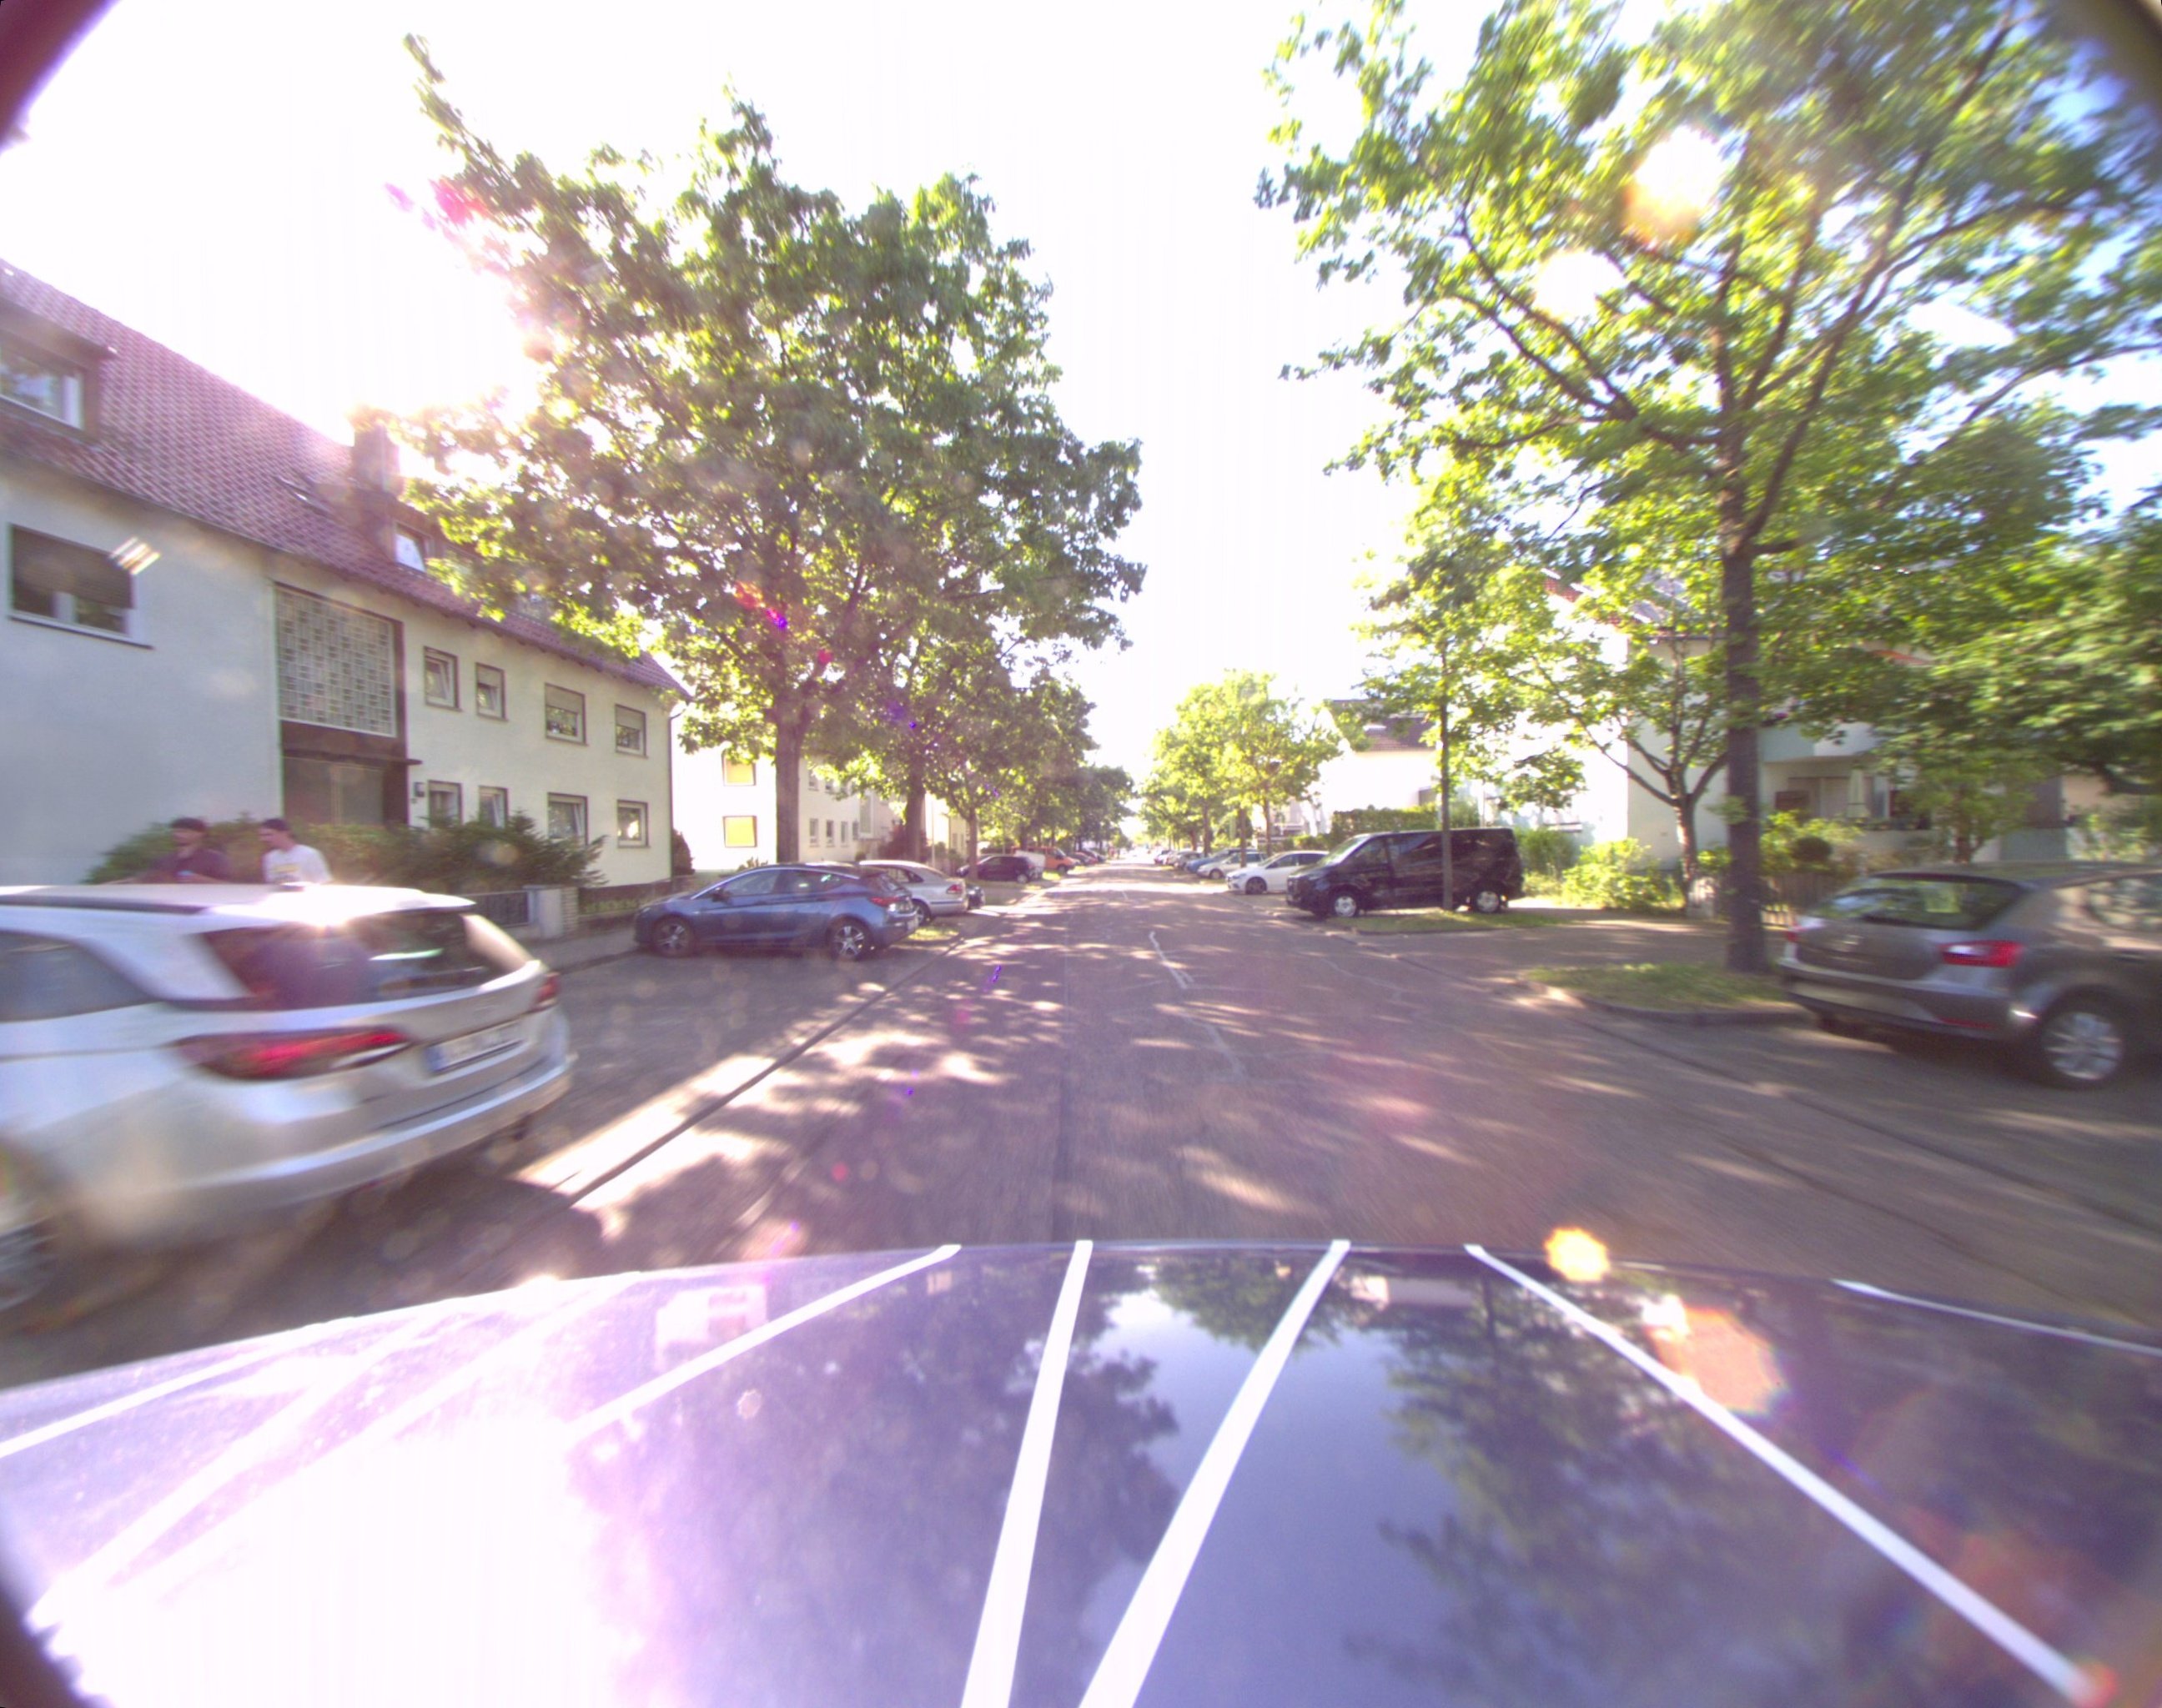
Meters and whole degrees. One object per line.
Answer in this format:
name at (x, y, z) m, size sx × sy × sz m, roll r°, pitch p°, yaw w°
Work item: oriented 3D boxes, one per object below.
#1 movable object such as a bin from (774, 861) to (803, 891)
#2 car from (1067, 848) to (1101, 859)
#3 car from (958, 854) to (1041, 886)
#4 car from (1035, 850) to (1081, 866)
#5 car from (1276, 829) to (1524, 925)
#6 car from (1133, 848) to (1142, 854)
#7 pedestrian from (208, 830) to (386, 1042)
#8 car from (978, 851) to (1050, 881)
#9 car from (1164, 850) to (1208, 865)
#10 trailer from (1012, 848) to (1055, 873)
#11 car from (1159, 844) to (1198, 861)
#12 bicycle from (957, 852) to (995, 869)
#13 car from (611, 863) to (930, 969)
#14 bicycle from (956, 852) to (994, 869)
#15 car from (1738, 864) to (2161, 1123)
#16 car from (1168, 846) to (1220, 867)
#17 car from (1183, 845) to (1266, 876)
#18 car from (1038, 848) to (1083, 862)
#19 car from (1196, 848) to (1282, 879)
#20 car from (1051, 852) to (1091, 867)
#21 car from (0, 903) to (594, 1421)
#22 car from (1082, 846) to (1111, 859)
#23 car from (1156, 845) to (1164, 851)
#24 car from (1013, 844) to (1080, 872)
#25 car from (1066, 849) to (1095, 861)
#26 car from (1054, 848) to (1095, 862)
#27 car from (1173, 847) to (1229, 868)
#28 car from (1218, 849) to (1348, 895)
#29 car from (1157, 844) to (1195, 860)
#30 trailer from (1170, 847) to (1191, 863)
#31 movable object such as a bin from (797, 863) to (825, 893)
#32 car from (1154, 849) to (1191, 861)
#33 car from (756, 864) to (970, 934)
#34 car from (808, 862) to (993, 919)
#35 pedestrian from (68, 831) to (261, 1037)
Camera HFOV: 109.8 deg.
movable object such as a bin at (-11.285, 0.851, 29.334) m, size 0.704 × 1.092 × 0.906 m, roll -1°, pitch 2°, yaw 2°
car at (0.373, -0.095, 104.751) m, size 4.512 × 1.437 × 1.839 m, roll 0°, pitch 1°, yaw 6°
car at (-4.064, 0.796, 38.217) m, size 3.891 × 1.507 × 1.661 m, roll -1°, pitch 2°, yaw 3°
car at (-2.190, 0.360, 73.828) m, size 4.348 × 1.551 × 1.868 m, roll 0°, pitch 1°, yaw 3°
car at (7.127, 0.496, 17.390) m, size 4.790 × 1.906 × 2.018 m, roll -2°, pitch 1°, yaw 1°
car at (13.876, -0.660, 187.836) m, size 1.943 × 1.412 × 4.002 m, roll -1°, pitch 1°, yaw 7°
pedestrian at (-7.321, 0.715, 7.149) m, size 0.609 × 1.863 × 0.924 m, roll -1°, pitch 2°, yaw 4°
car at (-3.792, 0.688, 43.558) m, size 3.997 × 1.614 × 1.757 m, roll -1°, pitch 2°, yaw -1°
car at (10.255, 0.327, 74.180) m, size 4.219 × 1.463 × 1.691 m, roll -1°, pitch 1°, yaw 6°
trailer at (-3.288, 0.457, 53.081) m, size 2.954 × 1.655 × 1.614 m, roll 1°, pitch 2°, yaw -3°
car at (11.110, -0.203, 87.134) m, size 4.246 × 1.933 × 2.000 m, roll -1°, pitch 1°, yaw 1°
bicycle at (-8.190, 0.495, 59.268) m, size 2.865 × 1.230 × 0.468 m, roll 1°, pitch 2°, yaw 4°
car at (-4.744, 0.931, 12.019) m, size 4.286 × 1.494 × 1.797 m, roll -1°, pitch 1°, yaw 3°
bicycle at (-8.228, 0.503, 58.782) m, size 2.865 × 1.230 × 0.468 m, roll 1°, pitch 2°, yaw 4°
car at (7.438, 0.859, 5.484) m, size 3.828 × 1.411 × 1.772 m, roll -2°, pitch 1°, yaw 1°
car at (9.492, 0.175, 64.181) m, size 4.196 × 1.558 × 1.792 m, roll -2°, pitch 1°, yaw 5°
car at (8.349, 0.362, 44.483) m, size 4.534 × 1.622 × 1.938 m, roll -2°, pitch 1°, yaw 4°
car at (-2.091, 0.127, 79.006) m, size 4.436 × 1.324 × 1.691 m, roll 1°, pitch 1°, yaw 6°
car at (8.229, 0.485, 39.789) m, size 4.192 × 1.483 × 1.647 m, roll -2°, pitch 1°, yaw 3°
car at (-1.117, 0.614, 85.221) m, size 4.329 × 1.521 × 1.841 m, roll 1°, pitch 1°, yaw 3°
car at (-4.883, 1.030, 3.197) m, size 4.440 × 1.483 × 1.796 m, roll 0°, pitch 1°, yaw -2°
car at (2.316, -0.246, 113.468) m, size 4.220 × 1.771 × 1.790 m, roll 1°, pitch 1°, yaw 5°
car at (21.351, -1.628, 205.022) m, size 1.740 × 1.532 × 3.949 m, roll 0°, pitch 1°, yaw 10°
car at (-2.570, 0.288, 57.788) m, size 4.829 × 2.071 × 2.086 m, roll -1°, pitch 1°, yaw 3°
car at (-0.072, 0.105, 101.108) m, size 3.785 × 1.476 × 1.756 m, roll 0°, pitch 2°, yaw 6°
car at (-0.705, 0.095, 88.625) m, size 4.583 × 1.637 × 1.838 m, roll 1°, pitch 1°, yaw 4°
car at (9.271, 0.260, 58.886) m, size 4.043 × 1.415 × 1.810 m, roll -3°, pitch 1°, yaw 2°
car at (7.328, 0.650, 27.870) m, size 4.286 × 1.469 × 1.769 m, roll -2°, pitch 1°, yaw 3°
car at (11.151, -0.229, 89.466) m, size 4.248 × 1.760 × 1.967 m, roll -2°, pitch 1°, yaw 1°
trailer at (10.775, 0.109, 82.205) m, size 2.240 × 1.664 × 1.475 m, roll -1°, pitch 0°, yaw 8°
movable object such as a bin at (-10.415, 0.906, 29.358) m, size 0.704 × 1.105 × 0.906 m, roll -1°, pitch 2°, yaw 2°
car at (11.648, 0.125, 96.581) m, size 4.487 × 1.491 × 1.837 m, roll -1°, pitch 1°, yaw 2°
car at (-4.730, 0.959, 16.999) m, size 4.288 × 1.406 × 1.796 m, roll 0°, pitch 1°, yaw -3°
car at (-4.634, 0.919, 19.960) m, size 4.356 × 1.355 × 1.873 m, roll 0°, pitch 1°, yaw 2°
pedestrian at (-8.442, 0.701, 7.040) m, size 0.837 × 1.818 × 0.710 m, roll -1°, pitch 2°, yaw 2°
